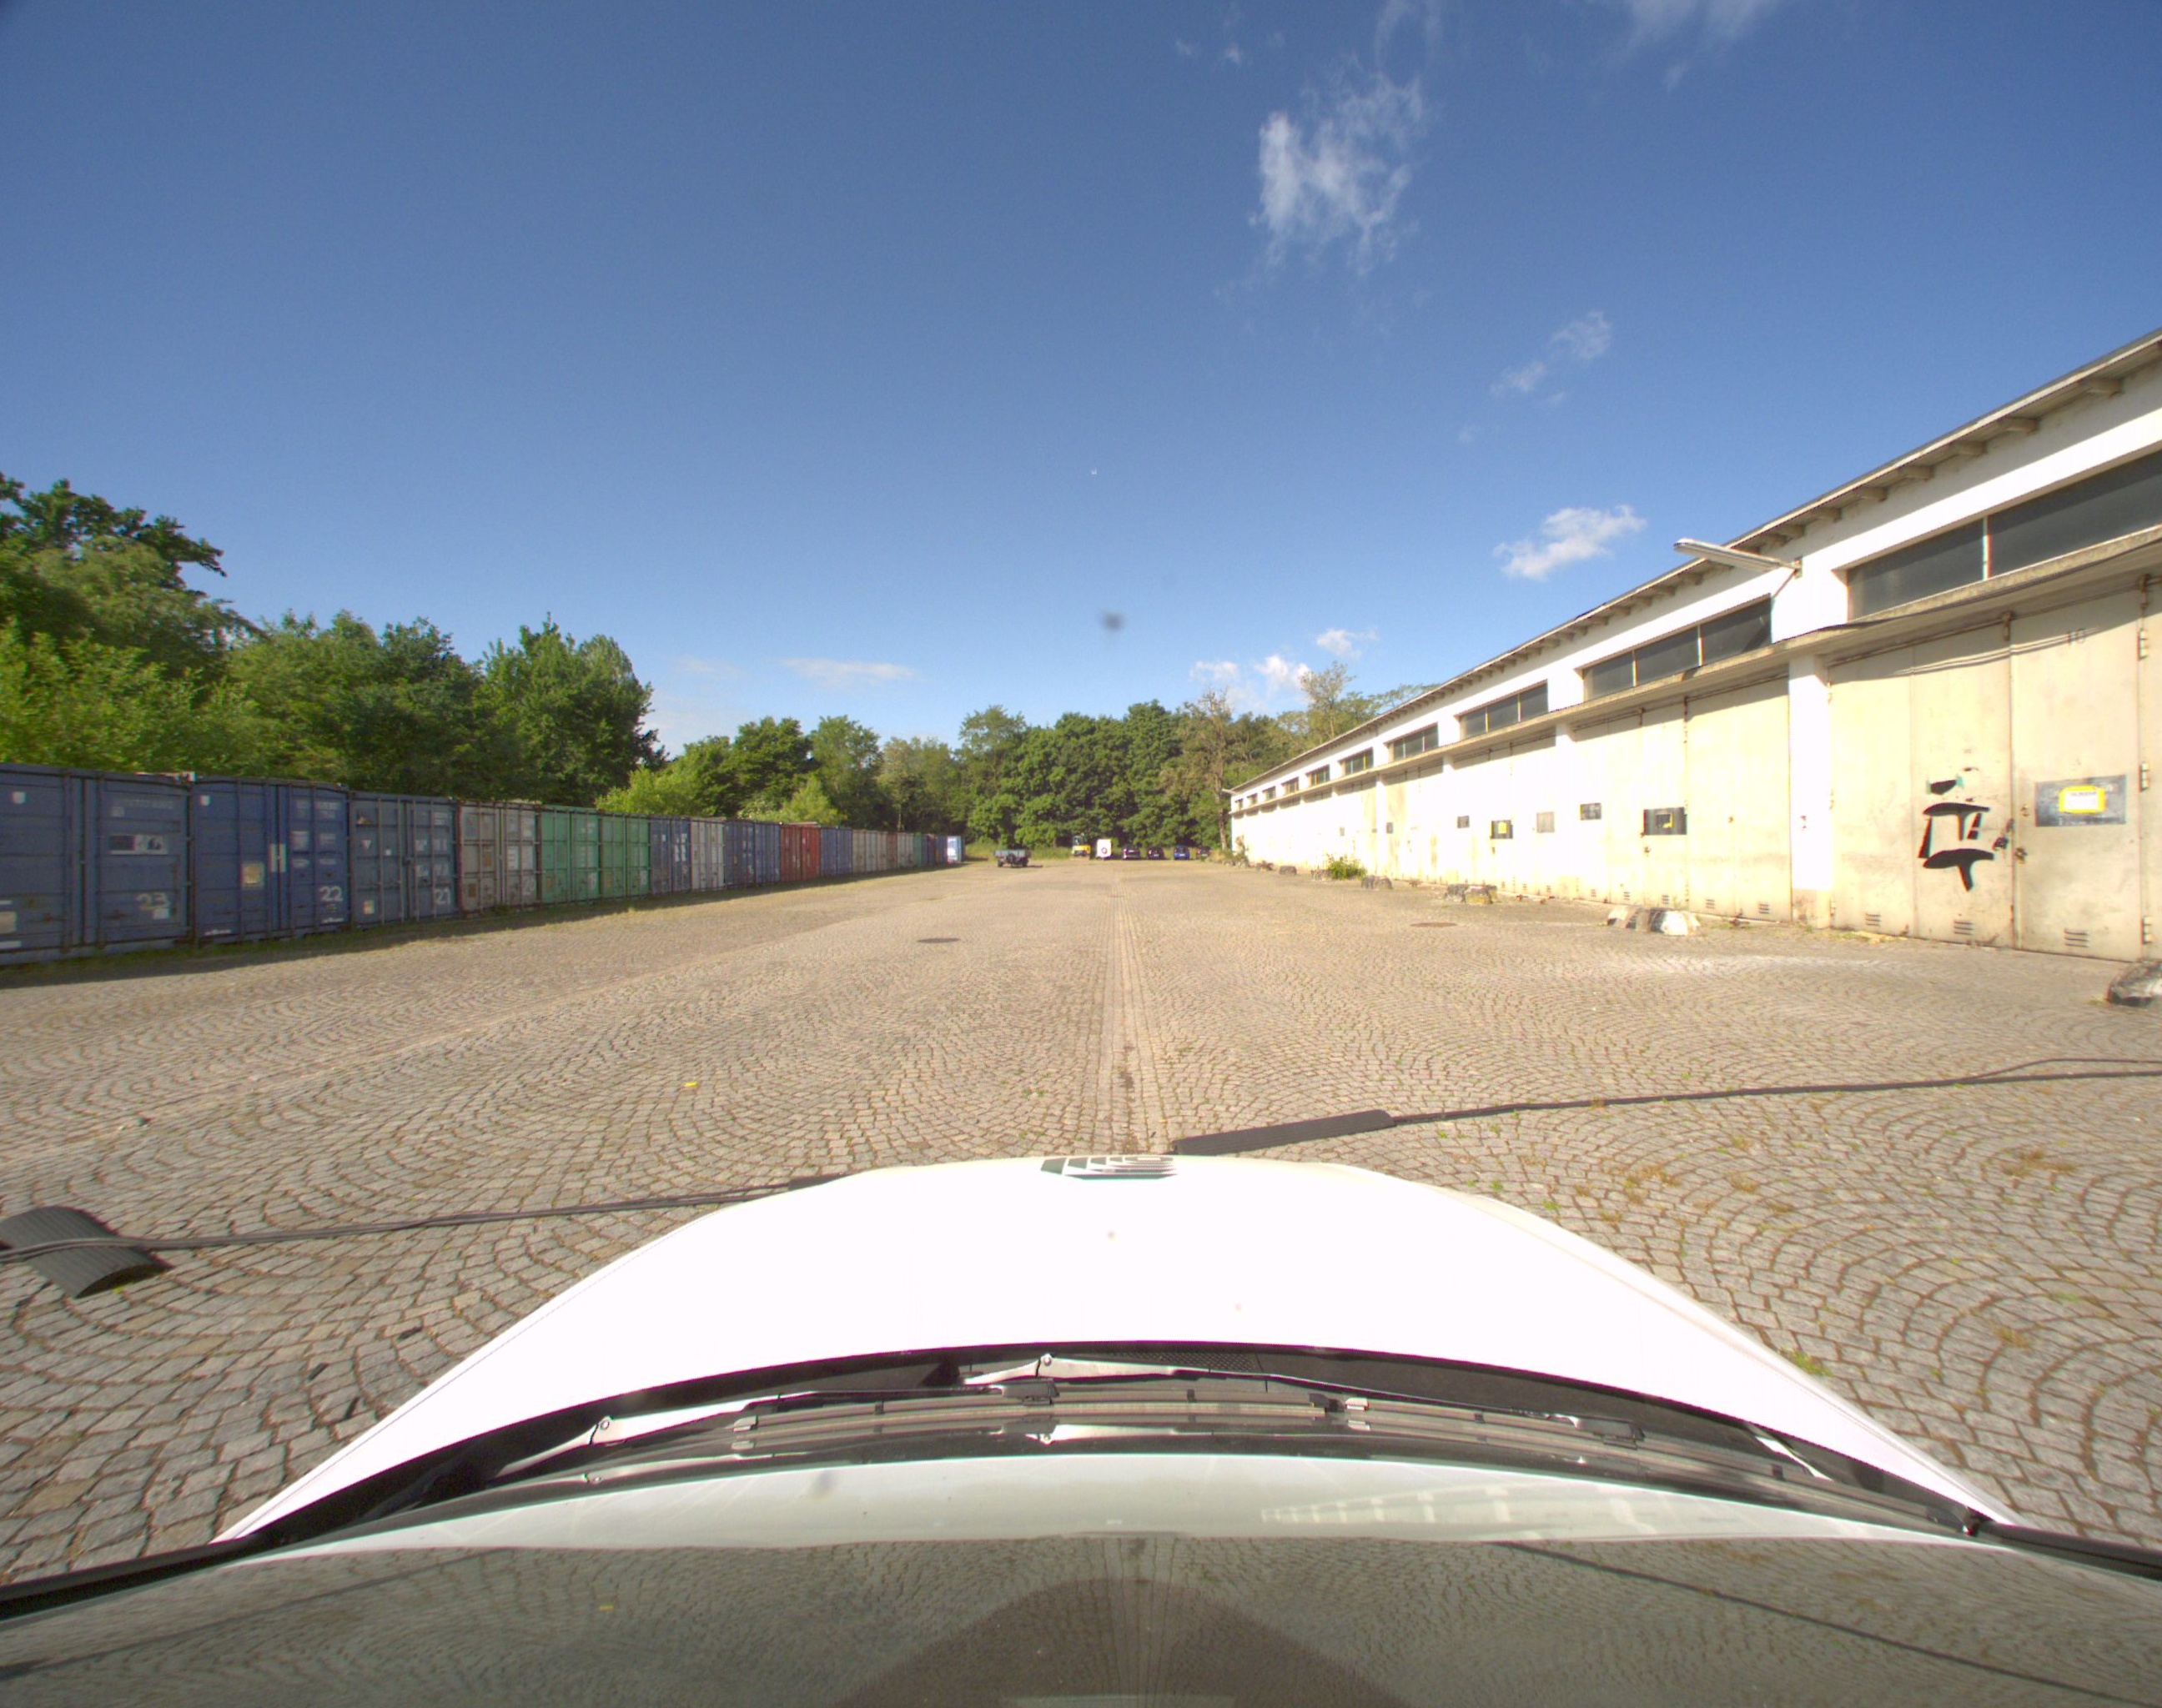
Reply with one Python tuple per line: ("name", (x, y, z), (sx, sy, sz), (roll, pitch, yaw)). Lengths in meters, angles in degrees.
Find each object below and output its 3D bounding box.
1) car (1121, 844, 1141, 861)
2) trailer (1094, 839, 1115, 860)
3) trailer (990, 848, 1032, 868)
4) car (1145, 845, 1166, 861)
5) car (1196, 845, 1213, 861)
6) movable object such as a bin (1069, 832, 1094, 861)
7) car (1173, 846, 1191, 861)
("car", (5.079, -0.159, 82.892), (1.856, 1.589, 4.298), (1, 2, 2))
("trailer", (2.480, -0.484, 85.348), (2.184, 2.094, 5.755), (1, 2, 2))
("trailer", (-5.526, 0.286, 65.472), (2.696, 1.465, 6.249), (1, 1, 1))
("car", (7.575, -0.098, 83.189), (1.856, 1.470, 4.298), (1, 2, 2))
("car", (12.829, -0.127, 84.385), (1.734, 1.436, 4.194), (1, 2, 9))
("movable object such as a bin", (0.130, -0.855, 86.008), (2.297, 2.896, 5.756), (1, 2, 3))
("car", (10.329, -0.083, 83.048), (1.735, 1.436, 4.192), (1, 2, 7))
